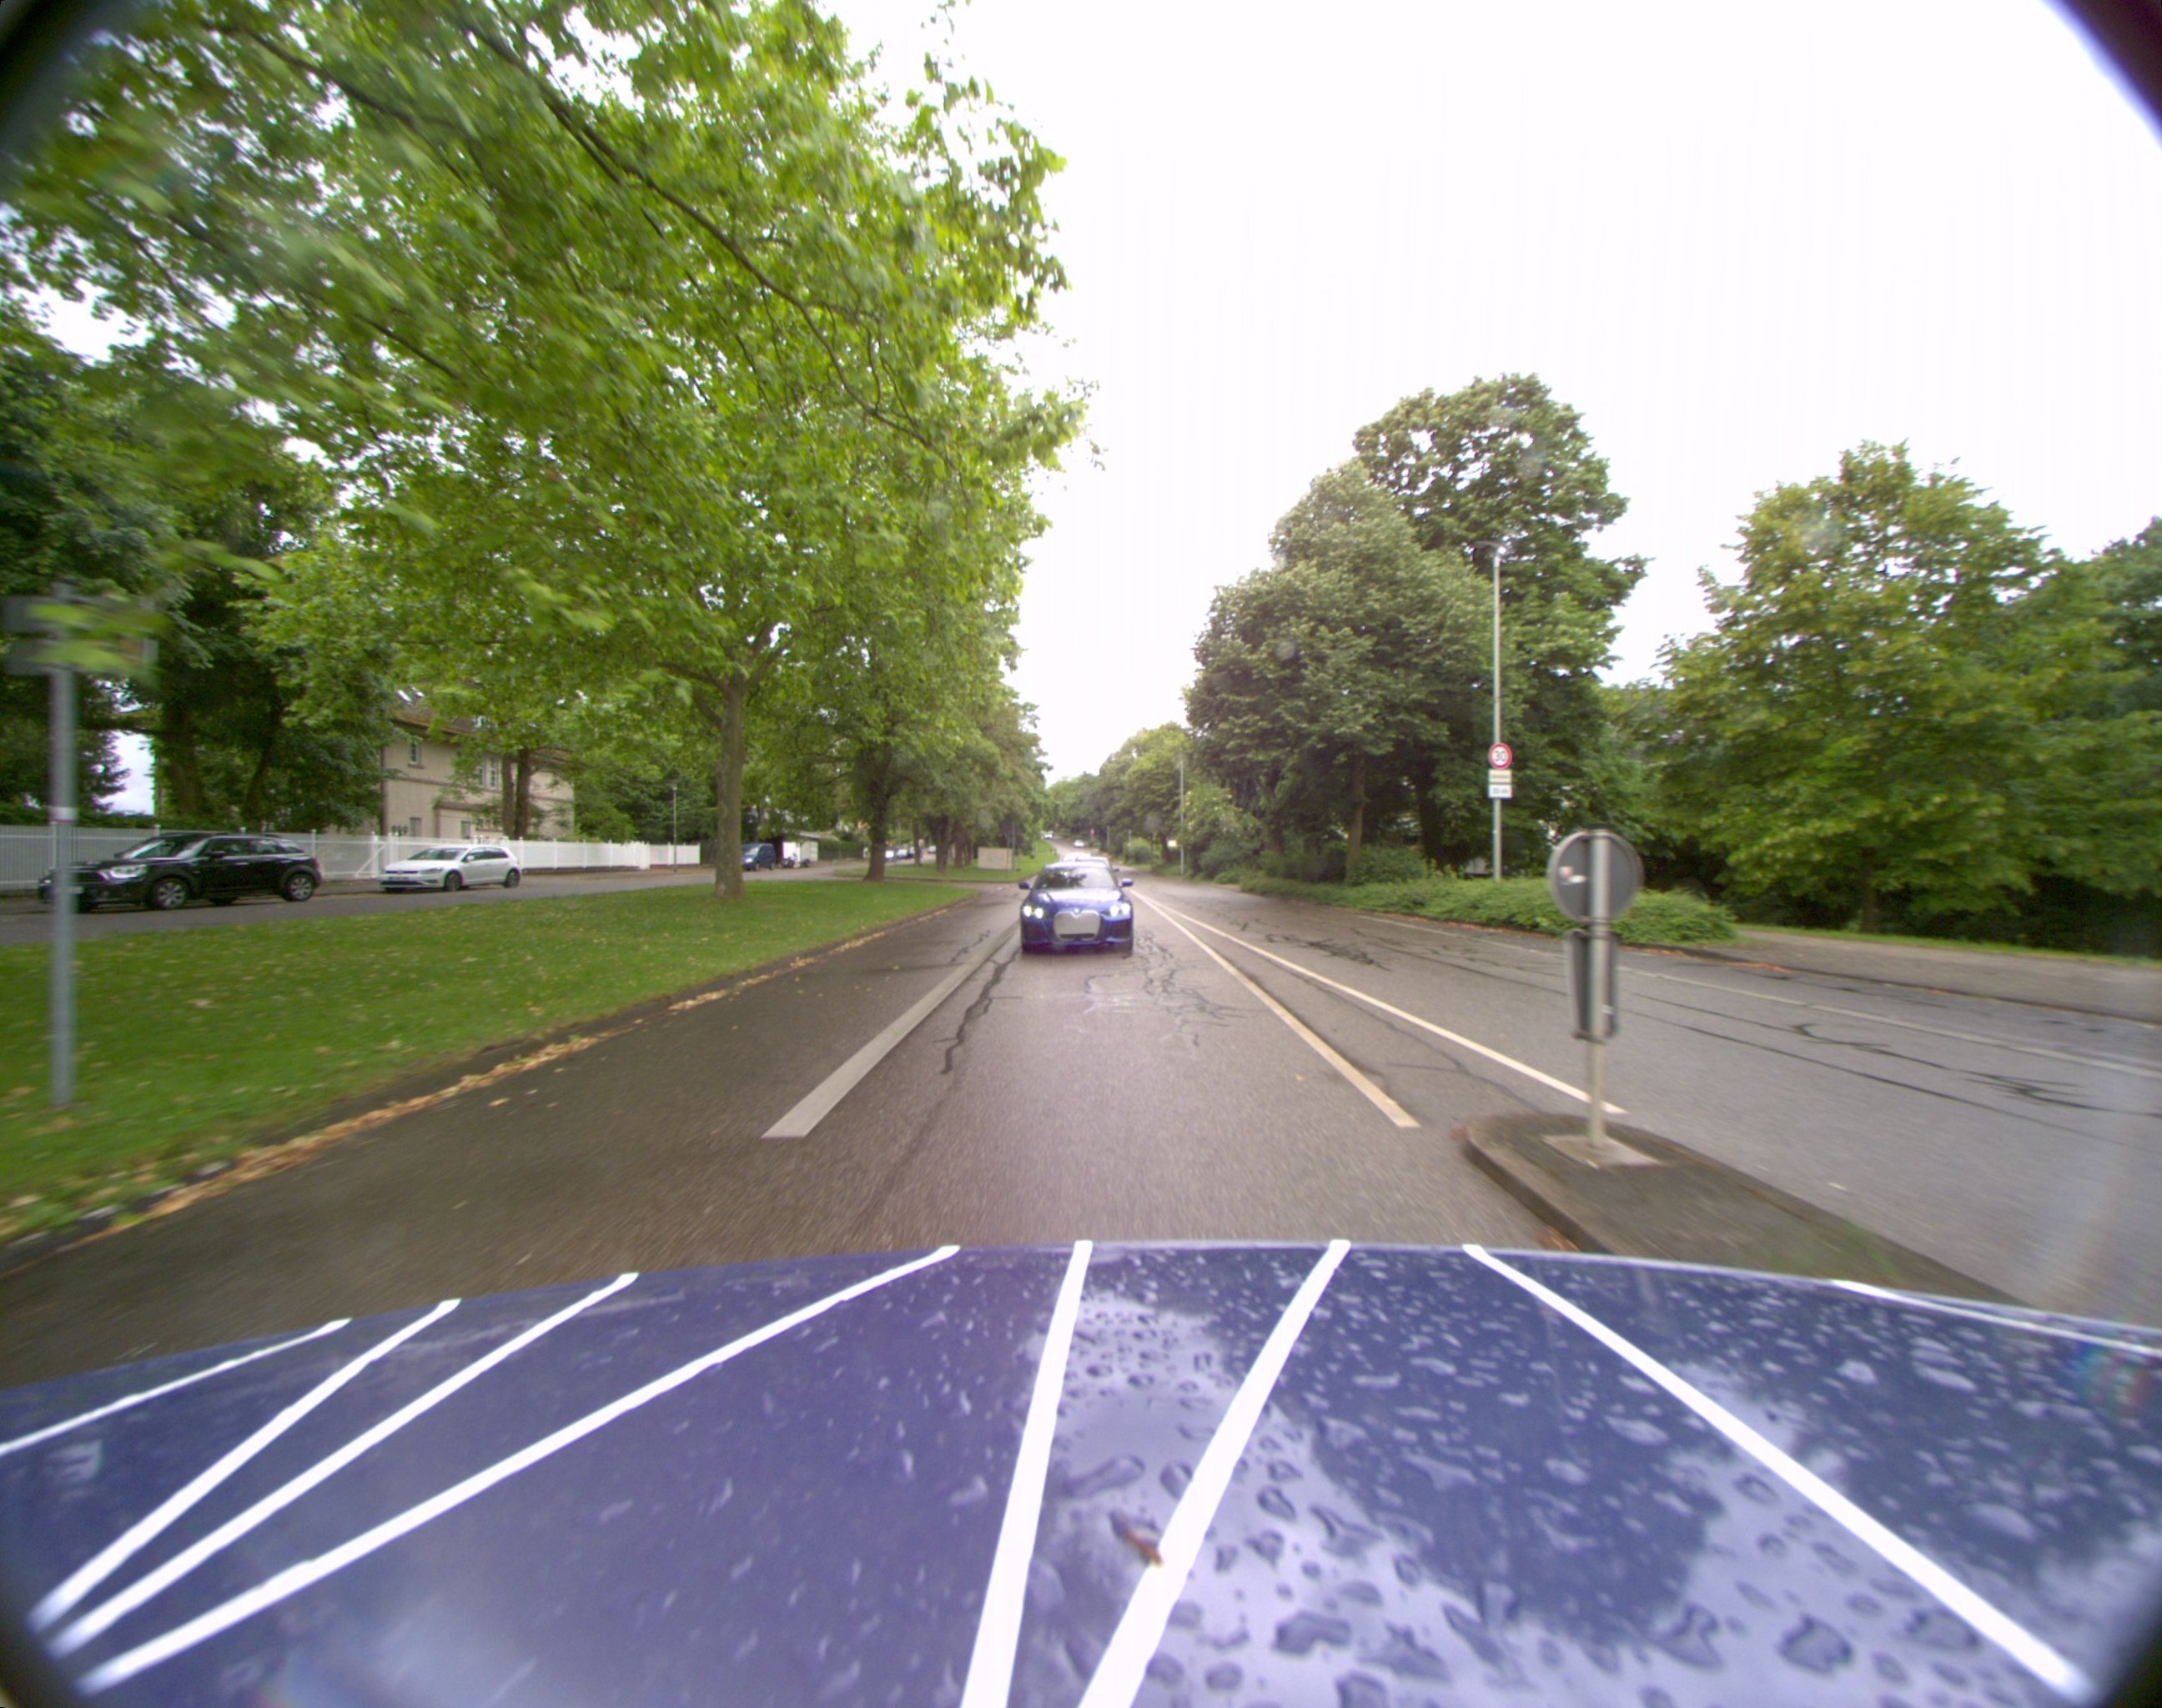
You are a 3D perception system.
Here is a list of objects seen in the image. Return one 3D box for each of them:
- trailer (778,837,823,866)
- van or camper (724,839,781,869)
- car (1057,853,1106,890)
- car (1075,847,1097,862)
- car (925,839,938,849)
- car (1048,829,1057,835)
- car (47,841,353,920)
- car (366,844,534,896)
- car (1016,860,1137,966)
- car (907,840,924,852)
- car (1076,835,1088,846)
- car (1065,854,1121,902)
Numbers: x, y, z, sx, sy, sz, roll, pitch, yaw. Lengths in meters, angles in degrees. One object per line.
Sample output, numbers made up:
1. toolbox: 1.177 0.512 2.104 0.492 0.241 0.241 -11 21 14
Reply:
1. trailer: -21.953 -0.245 59.654 1.771 2.104 5.190 -2 1 -3
2. van or camper: -21.474 -0.035 49.914 1.999 1.798 4.772 -2 1 -6
3. car: -0.025 0.751 34.535 2.032 1.471 4.066 -1 1 -1
4. car: 0.568 0.005 79.037 1.825 1.471 4.069 -1 1 6
5. car: -29.413 -1.956 149.498 1.999 2.002 3.998 1 1 -3
6. car: -7.303 -5.629 194.568 1.825 1.471 4.068 -1 1 4
7. car: -18.934 0.475 16.698 1.999 1.462 4.122 -2 1 -4
8. car: -19.704 0.439 24.006 1.999 1.440 4.122 -2 1 -4
9. car: -0.102 0.928 13.727 1.826 1.471 4.066 -2 1 -1
10. car: -27.297 -1.312 125.536 1.999 2.002 3.998 1 1 -3
11. car: 0.136 -2.716 157.688 2.000 2.001 4.572 0 -2 -8
12. car: 0.359 0.809 27.476 1.826 1.471 4.066 -2 1 -1
